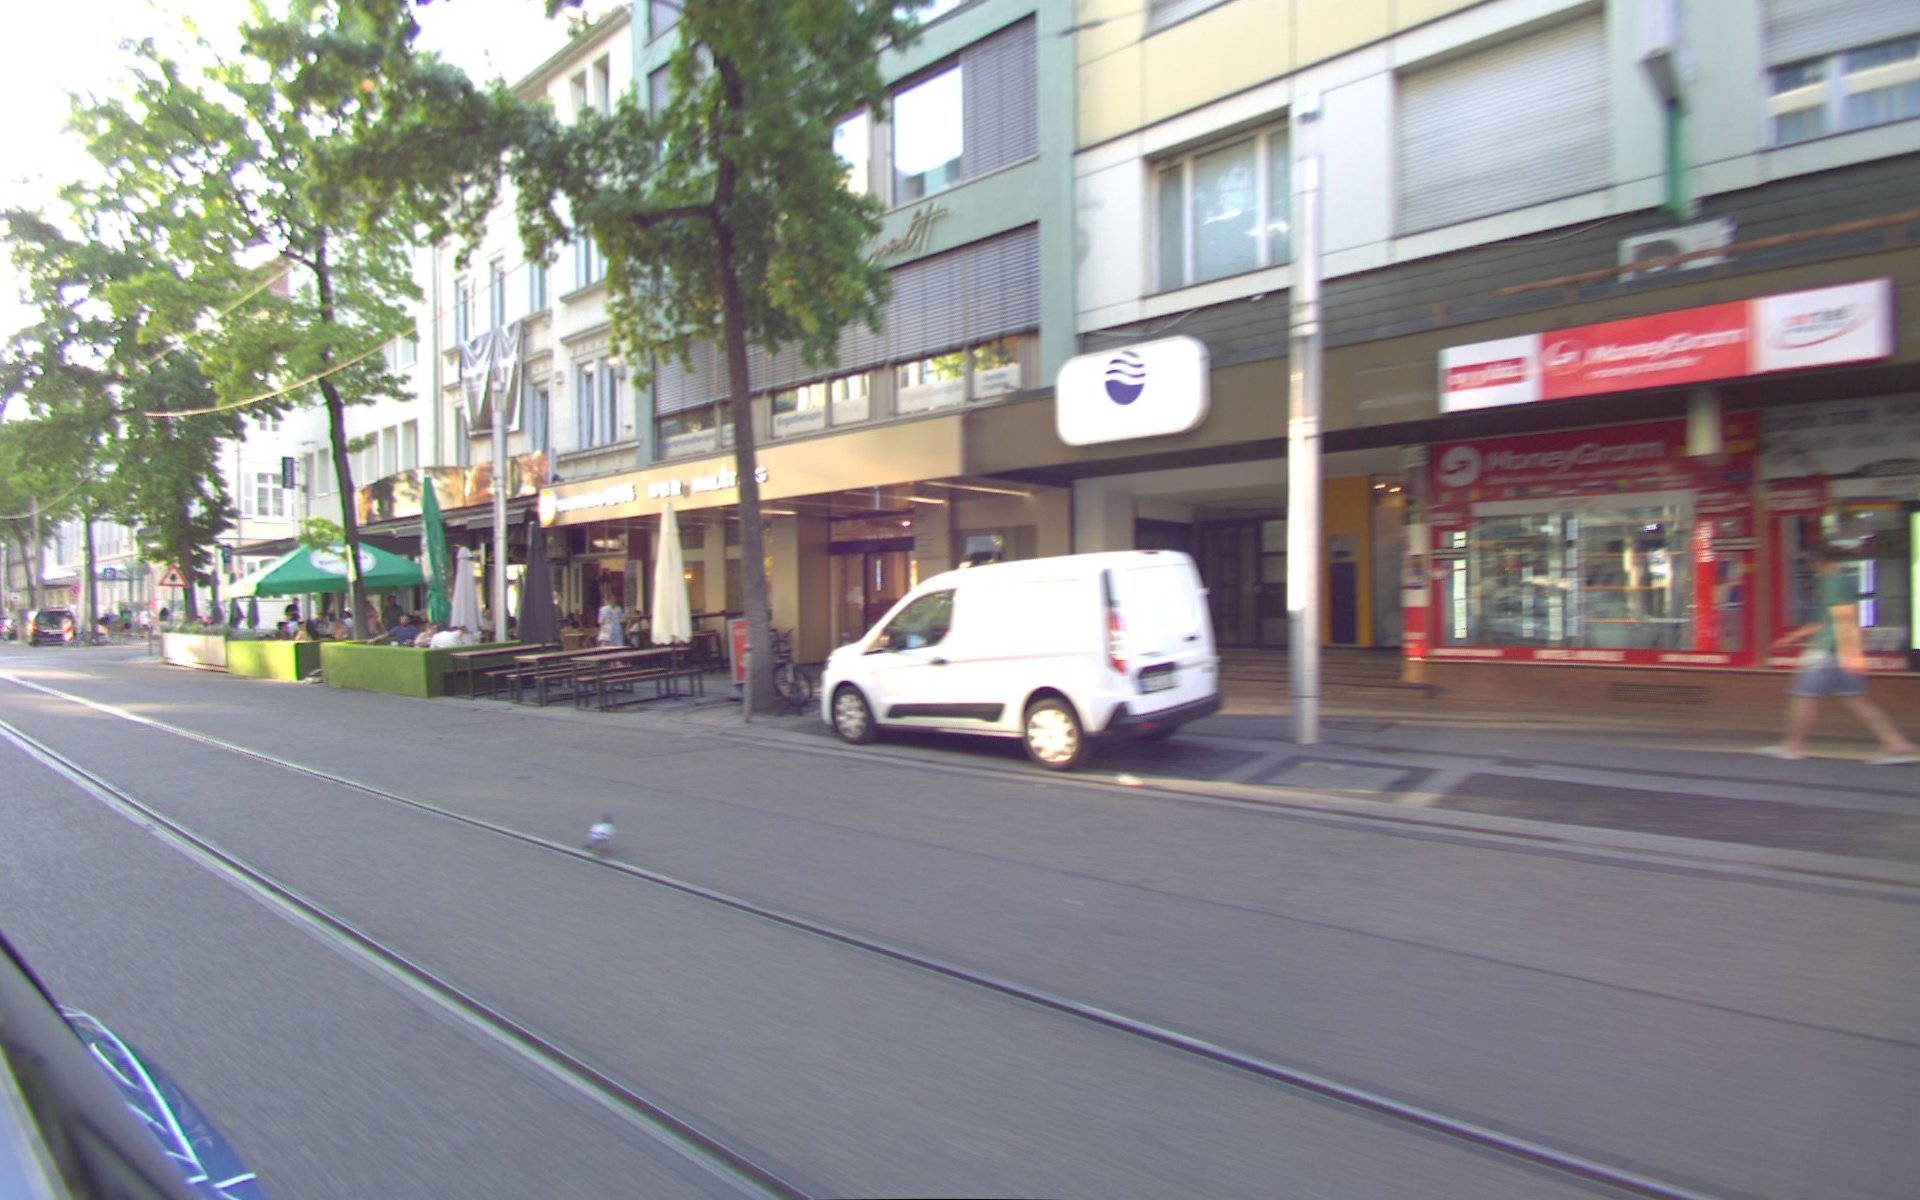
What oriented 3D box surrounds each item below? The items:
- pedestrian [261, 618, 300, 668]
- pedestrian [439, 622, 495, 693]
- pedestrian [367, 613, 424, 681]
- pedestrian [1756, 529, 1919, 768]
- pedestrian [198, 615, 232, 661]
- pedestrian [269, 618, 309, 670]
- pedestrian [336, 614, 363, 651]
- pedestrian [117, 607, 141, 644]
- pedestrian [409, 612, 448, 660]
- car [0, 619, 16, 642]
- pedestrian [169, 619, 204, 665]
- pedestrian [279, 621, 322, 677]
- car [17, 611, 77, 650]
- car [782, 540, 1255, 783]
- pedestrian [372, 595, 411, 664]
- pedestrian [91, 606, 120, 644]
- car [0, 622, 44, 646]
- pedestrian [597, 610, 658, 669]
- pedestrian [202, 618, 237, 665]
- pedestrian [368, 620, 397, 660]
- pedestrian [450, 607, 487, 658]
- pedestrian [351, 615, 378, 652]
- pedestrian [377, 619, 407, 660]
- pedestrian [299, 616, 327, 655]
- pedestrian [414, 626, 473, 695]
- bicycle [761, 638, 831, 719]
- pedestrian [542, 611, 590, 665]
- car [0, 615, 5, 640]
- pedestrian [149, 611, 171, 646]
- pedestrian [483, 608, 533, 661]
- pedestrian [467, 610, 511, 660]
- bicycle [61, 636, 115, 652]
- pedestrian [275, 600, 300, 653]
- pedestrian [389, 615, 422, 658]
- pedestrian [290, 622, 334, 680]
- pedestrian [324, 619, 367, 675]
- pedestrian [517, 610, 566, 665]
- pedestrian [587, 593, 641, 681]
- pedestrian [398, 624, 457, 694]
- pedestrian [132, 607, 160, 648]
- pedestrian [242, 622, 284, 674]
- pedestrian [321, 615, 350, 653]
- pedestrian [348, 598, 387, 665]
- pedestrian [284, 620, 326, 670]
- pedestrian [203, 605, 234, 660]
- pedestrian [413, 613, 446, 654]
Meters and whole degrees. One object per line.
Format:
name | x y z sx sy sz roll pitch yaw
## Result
pedestrian | -18.828 1.173 28.032 0.807 1.321 0.682 -1 1 42
pedestrian | -9.568 1.098 19.626 0.797 1.302 0.650 -1 2 41
pedestrian | -11.976 0.982 21.469 0.872 1.353 0.747 -1 2 41
pedestrian | 6.699 0.337 7.664 1.004 1.698 0.660 -1 1 41
pedestrian | -23.723 1.197 32.232 0.807 1.397 0.682 -1 1 42
pedestrian | -18.193 1.186 27.426 0.781 1.357 0.700 -1 1 44
pedestrian | -19.884 1.050 32.955 0.686 1.170 0.546 -1 1 42
pedestrian | -41.966 1.289 51.095 0.876 1.826 0.712 -1 2 41
pedestrian | -14.520 0.967 27.637 0.798 1.251 0.663 -1 1 41
car | -62.912 1.985 65.983 4.140 1.416 1.642 -1 2 42
pedestrian | -24.215 1.303 31.693 0.807 1.397 0.682 -1 1 42
pedestrian | -15.611 1.152 23.965 0.696 1.254 0.612 -1 2 41
car | -46.148 1.514 51.107 4.559 1.846 1.837 -1 1 43
car | 0.384 0.481 10.099 4.553 1.878 1.777 -1 2 42
pedestrian | -14.992 0.758 26.691 0.697 1.770 0.670 -1 1 43
pedestrian | -42.614 1.249 50.469 0.884 1.795 0.856 -1 2 41
car | -56.089 2.004 60.290 4.505 1.254 1.700 -1 2 41
pedestrian | -7.168 0.834 21.799 1.064 1.197 0.745 -1 2 41
pedestrian | -22.754 1.268 31.090 0.807 1.397 0.682 -1 1 42
pedestrian | -17.465 1.190 30.605 0.686 1.170 0.546 -1 1 42
pedestrian | -13.259 0.869 27.314 0.696 1.319 0.612 -1 2 41
pedestrian | -19.550 1.085 33.205 0.686 1.170 0.546 -1 1 42
pedestrian | -16.839 1.152 29.992 0.686 1.170 0.546 -1 1 42
pedestrian | -22.199 1.202 34.722 0.727 1.291 0.620 -1 1 42
pedestrian | -9.523 1.096 18.647 0.797 1.202 0.650 -1 2 41
bicycle | -2.229 1.016 13.648 0.823 0.871 1.864 -3 1 -10
pedestrian | -9.140 0.864 23.454 0.787 1.176 0.693 -1 2 41
car | -70.075 2.036 72.326 4.945 1.701 1.848 -1 2 38
pedestrian | -38.570 1.358 48.793 0.967 1.669 0.699 -2 -1 43
pedestrian | -11.505 0.866 25.743 0.944 1.246 0.769 -1 2 41
pedestrian | -12.380 0.912 26.597 0.787 1.241 0.729 -1 2 41
bicycle | -39.447 1.988 45.784 1.282 0.613 1.775 -1 1 44
pedestrian | -23.820 0.926 35.866 0.675 1.829 0.766 -3 1 -33
pedestrian | -16.001 1.048 29.217 0.687 1.182 0.595 -1 1 42
pedestrian | -14.865 1.155 23.227 0.696 1.254 0.612 -1 2 41
pedestrian | -14.457 1.099 23.821 0.696 1.254 0.612 -1 2 41
pedestrian | -9.988 0.885 24.146 0.787 1.222 0.729 -1 2 41
pedestrian | -6.549 0.685 19.166 0.700 1.586 0.640 -1 2 41
pedestrian | -10.111 1.098 19.201 0.872 1.253 0.650 -1 2 41
pedestrian | -36.679 1.228 45.621 0.984 1.805 0.766 -1 2 43
pedestrian | -17.853 1.213 25.930 0.772 1.269 0.700 -1 1 44
pedestrian | -21.713 1.176 35.165 0.738 1.279 0.638 -1 1 42
pedestrian | -15.328 0.816 26.189 0.696 1.683 0.612 -1 1 41
pedestrian | -17.187 1.167 26.545 0.869 1.269 0.700 -1 1 44
pedestrian | -24.984 1.075 34.108 0.747 1.805 0.688 -3 1 -36
pedestrian | -15.585 0.982 29.728 0.687 1.167 0.595 -1 1 42
